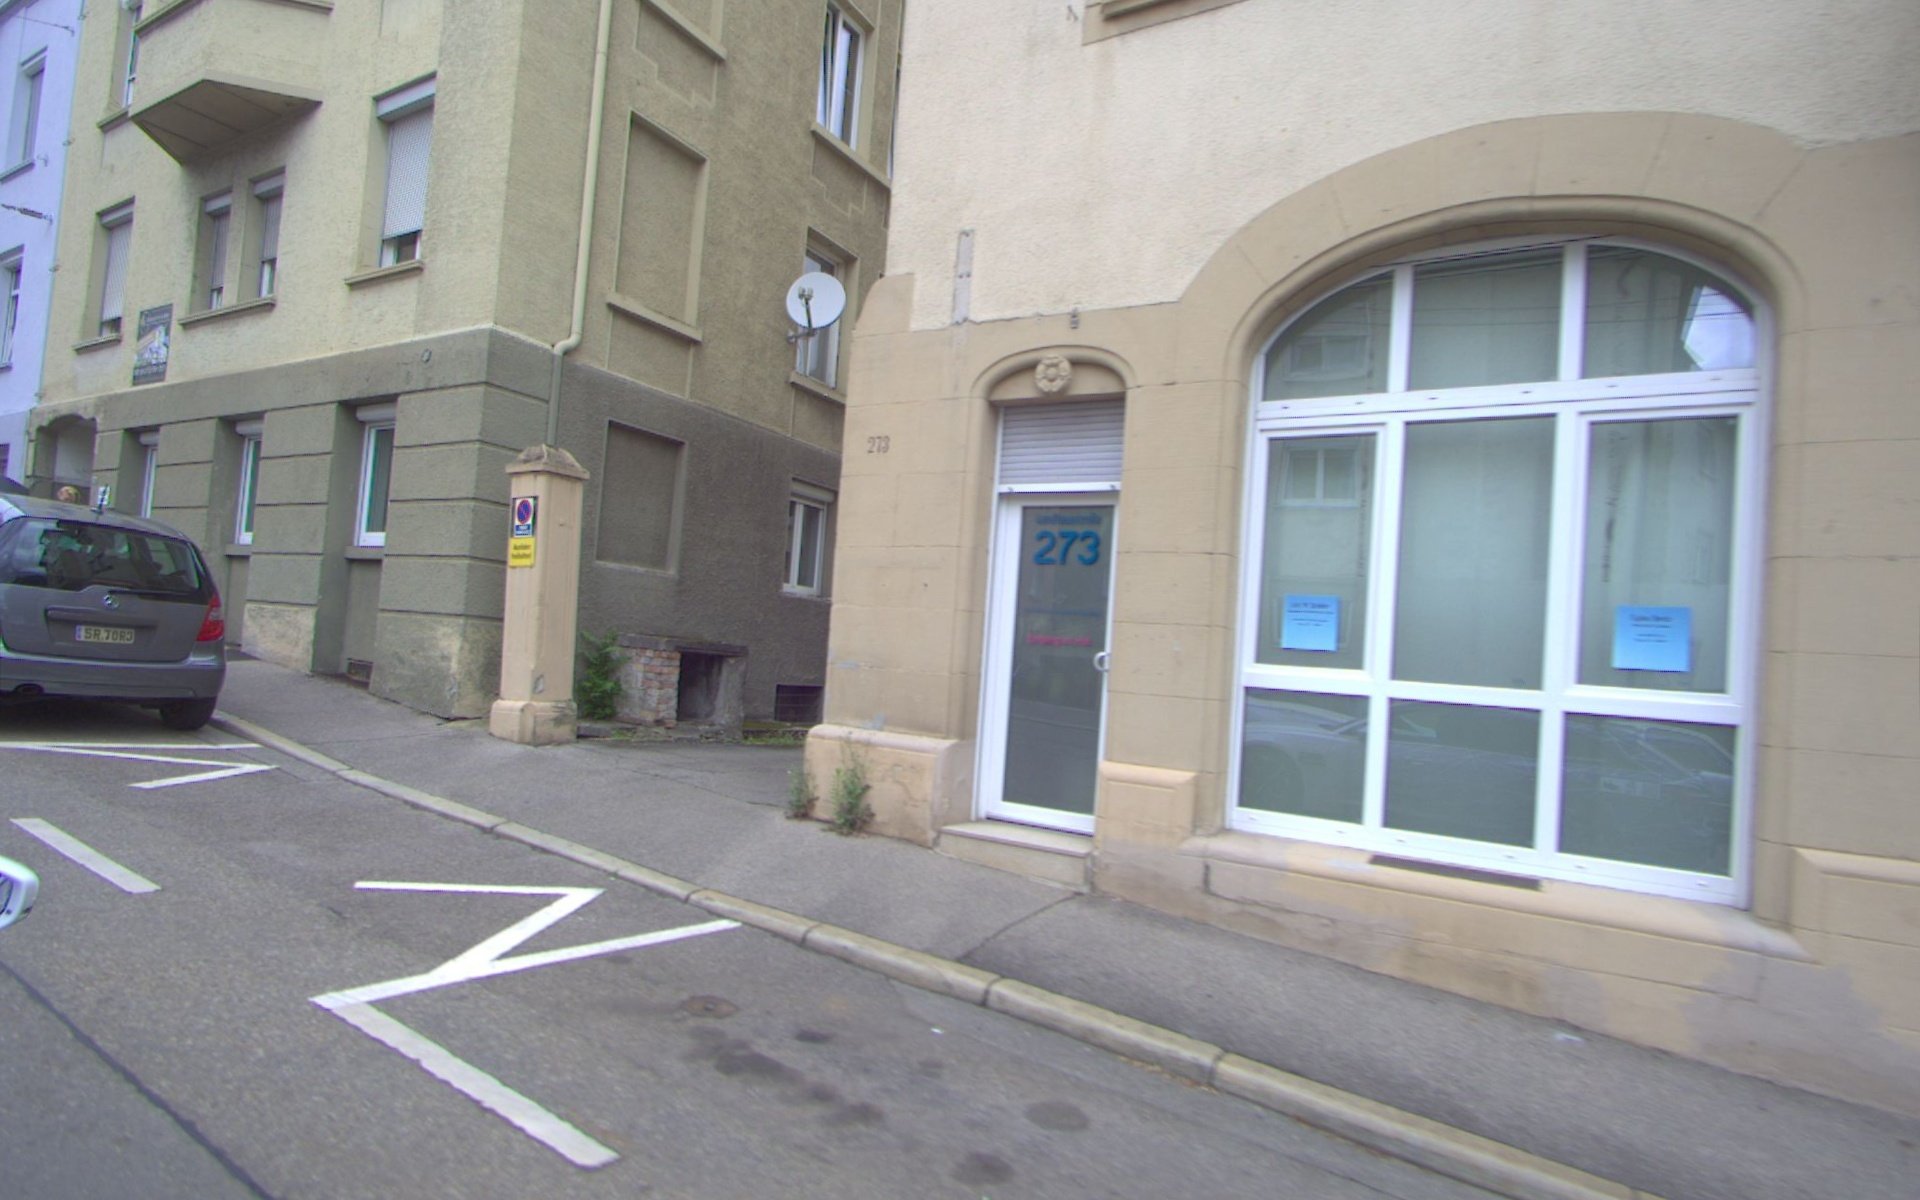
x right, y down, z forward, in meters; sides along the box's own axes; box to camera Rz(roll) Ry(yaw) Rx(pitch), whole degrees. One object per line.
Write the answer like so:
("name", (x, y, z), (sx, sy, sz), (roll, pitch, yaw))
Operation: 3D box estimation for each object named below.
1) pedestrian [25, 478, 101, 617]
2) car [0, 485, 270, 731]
("pedestrian", (-11.306, -0.654, 12.680), (0.507, 1.705, 0.541), (4, 2, 23))
("car", (-7.541, -0.083, 7.988), (3.961, 1.535, 1.832), (7, -3, 32))
